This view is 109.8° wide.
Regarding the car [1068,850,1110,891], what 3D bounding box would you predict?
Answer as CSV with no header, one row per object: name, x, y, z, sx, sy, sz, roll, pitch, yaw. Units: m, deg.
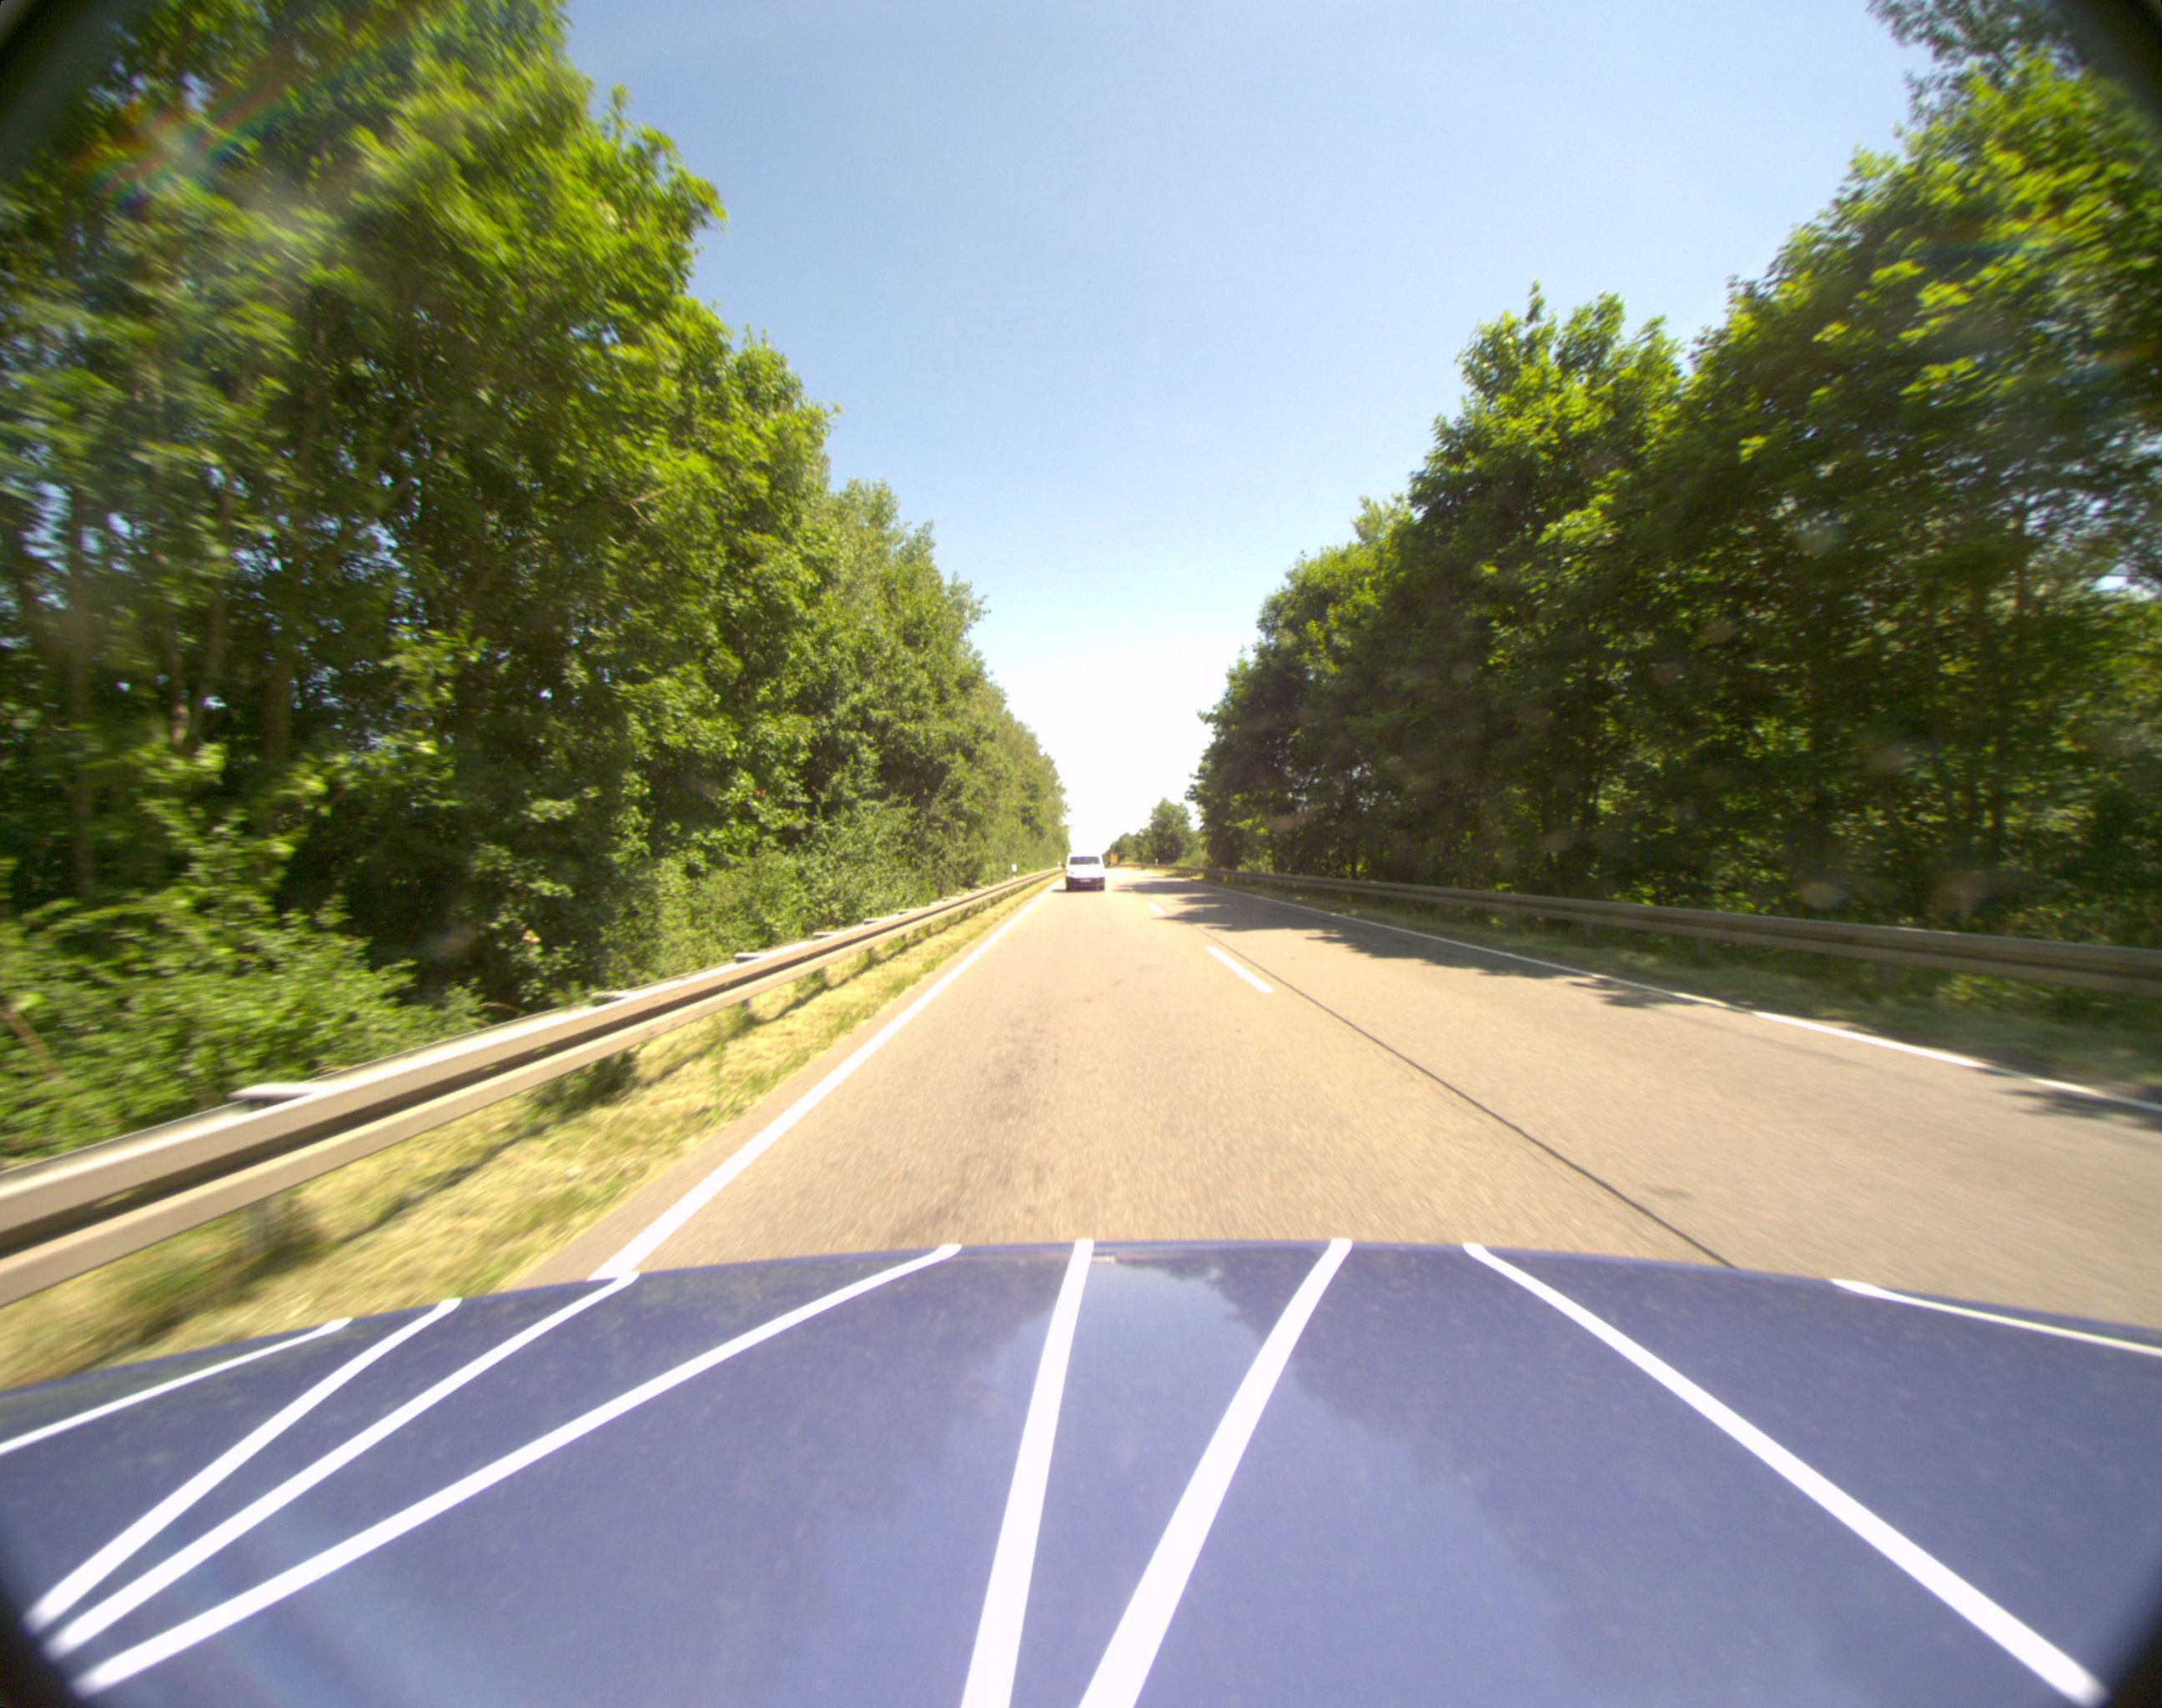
car,0.378,0.765,35.807,1.782,1.743,4.513,-2,-1,1

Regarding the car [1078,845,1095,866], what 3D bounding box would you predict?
car,0.653,0.222,88.832,1.782,2.287,4.106,-2,-1,1
